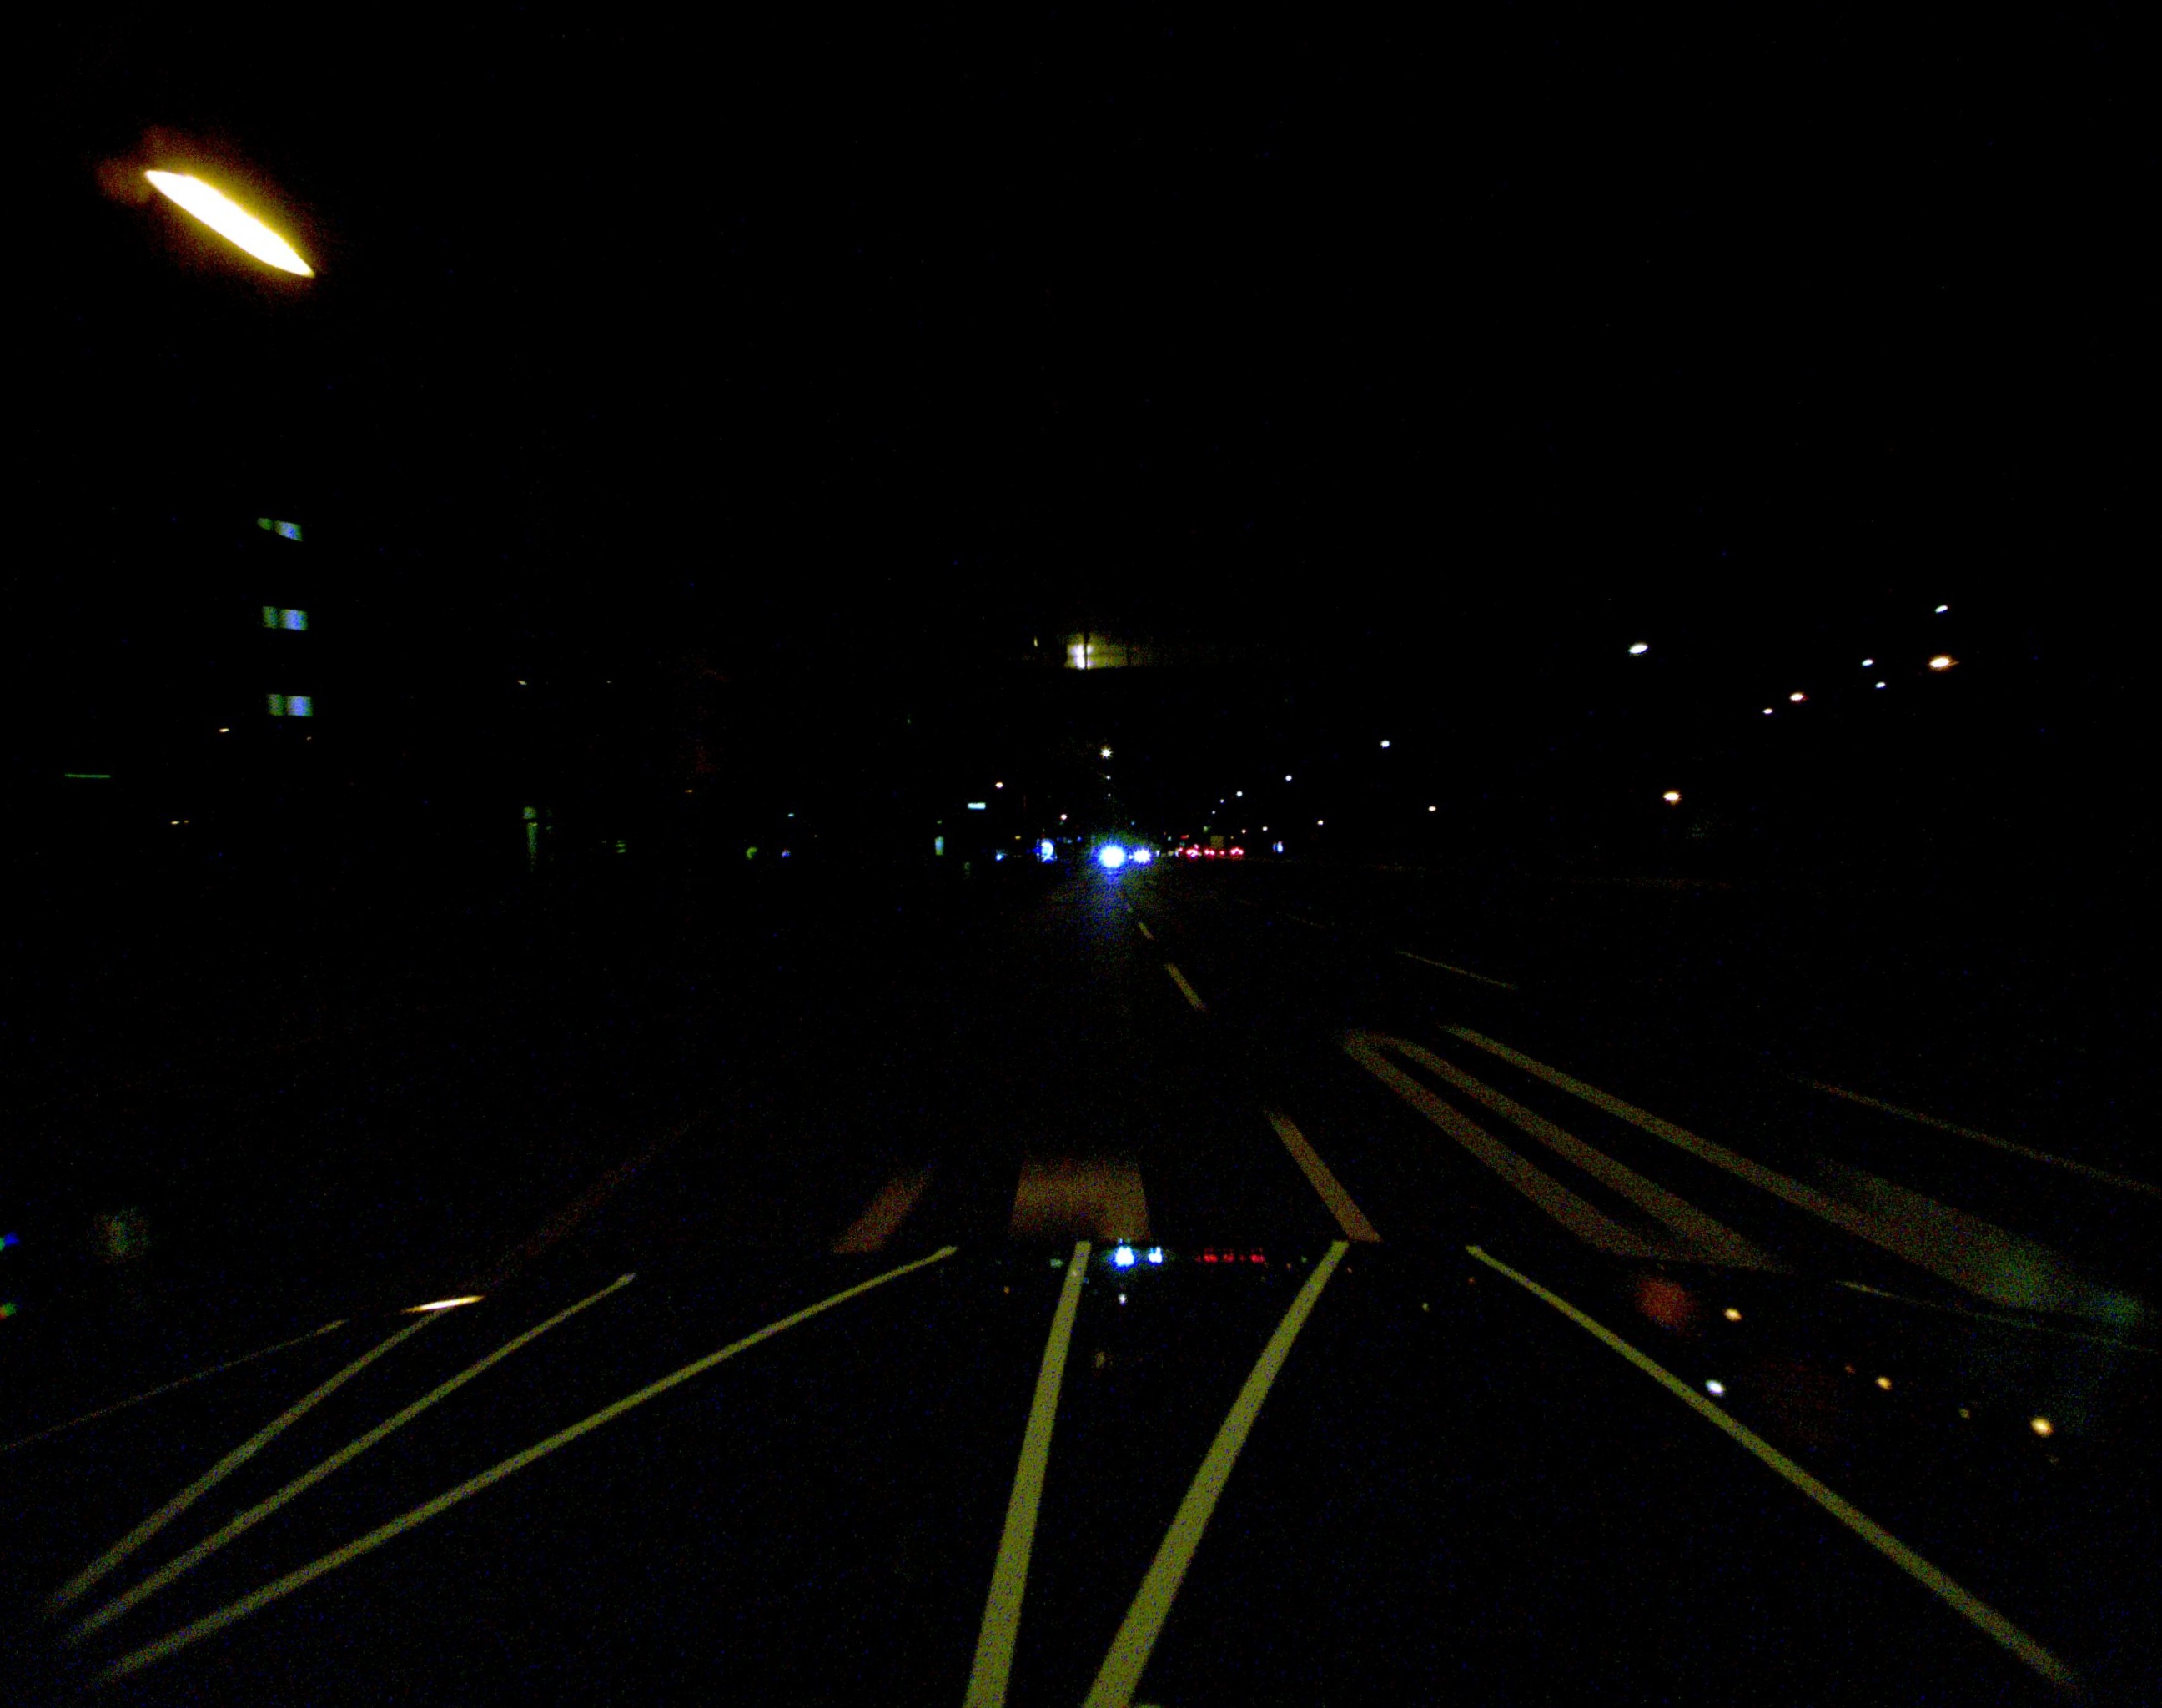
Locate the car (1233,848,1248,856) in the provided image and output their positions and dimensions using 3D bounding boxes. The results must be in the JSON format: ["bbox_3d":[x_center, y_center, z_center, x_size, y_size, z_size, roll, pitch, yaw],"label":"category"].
[{"bbox_3d":[29.833,-0.356,142.520,1.991,1.473,4.203,0,1,2],"label":"car"}]

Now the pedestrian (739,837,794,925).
[{"bbox_3d":[-7.043,0.580,17.036,0.806,1.902,0.794,1,1,10],"label":"pedestrian"}]

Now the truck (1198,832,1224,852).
[{"bbox_3d":[26.800,-2.507,157.356,3.690,3.932,10.420,-3,1,1],"label":"truck"}]

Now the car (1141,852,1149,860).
[{"bbox_3d":[15.963,0.467,189.474,1.793,2.002,4.001,-3,1,8],"label":"car"}]

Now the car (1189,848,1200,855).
[{"bbox_3d":[26.389,-0.679,176.383,1.808,1.490,4.084,-2,1,0],"label":"car"}]

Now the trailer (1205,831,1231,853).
[{"bbox_3d":[26.560,-2.341,147.901,3.705,3.967,8.394,-3,1,2],"label":"trailer"}]

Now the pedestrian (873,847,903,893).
[{"bbox_3d":[-7.216,0.581,28.408,0.854,1.697,0.957,0,2,2],"label":"pedestrian"}]
